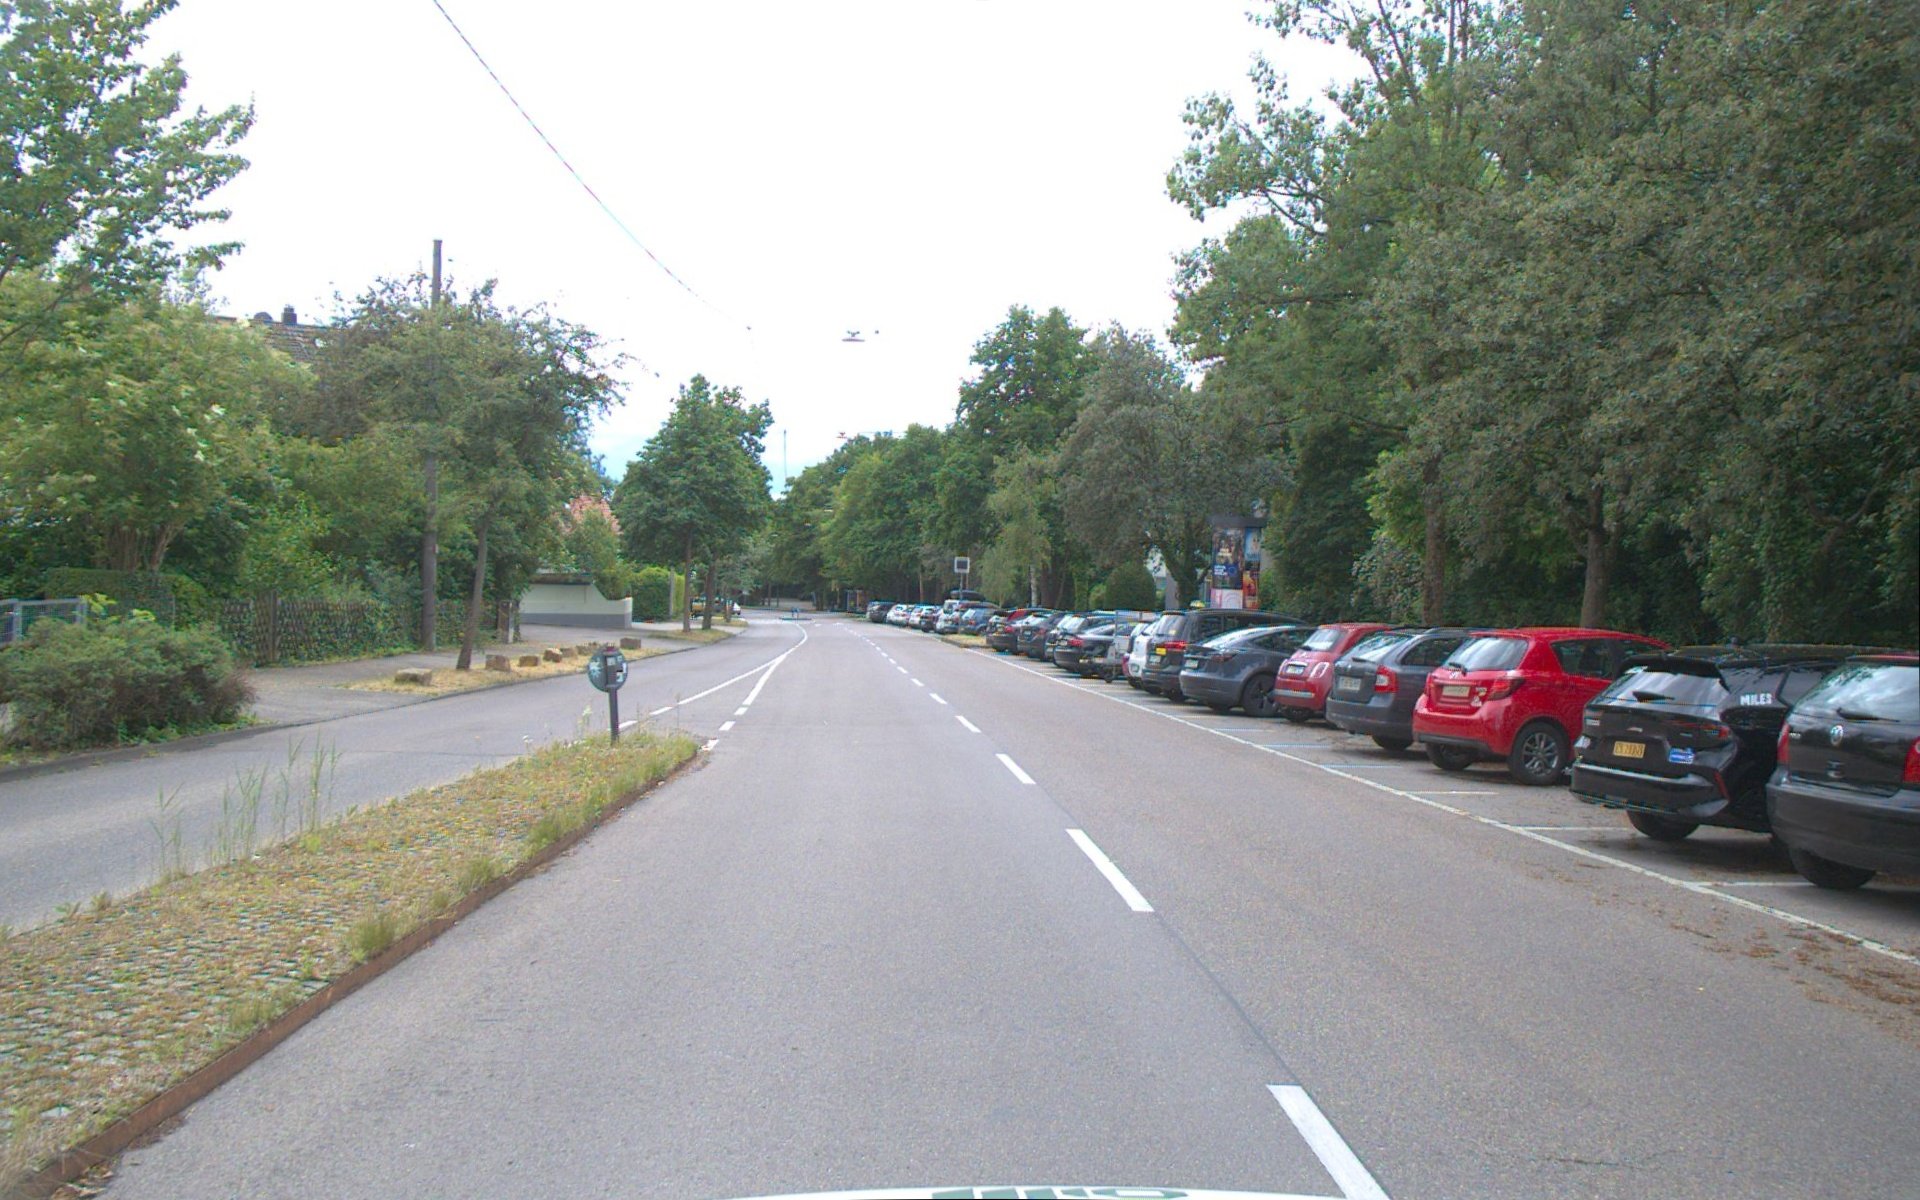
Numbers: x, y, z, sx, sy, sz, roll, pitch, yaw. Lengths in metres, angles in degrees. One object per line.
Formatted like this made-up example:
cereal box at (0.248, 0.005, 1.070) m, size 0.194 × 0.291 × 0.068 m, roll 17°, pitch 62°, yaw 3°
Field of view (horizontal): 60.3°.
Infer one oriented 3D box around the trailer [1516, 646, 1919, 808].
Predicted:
trailer at (6.944, 1.122, 14.864) m, size 3.344 × 1.289 × 1.610 m, roll 2°, pitch -1°, yaw -14°

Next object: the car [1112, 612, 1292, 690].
car at (5.026, 1.058, 34.445) m, size 3.370 × 1.470 × 1.552 m, roll 2°, pitch -1°, yaw -17°

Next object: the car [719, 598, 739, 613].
car at (-23.603, 0.532, 168.901) m, size 1.834 × 1.496 × 3.989 m, roll 1°, pitch 0°, yaw -12°

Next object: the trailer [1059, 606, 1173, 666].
trailer at (4.437, 1.028, 47.058) m, size 2.939 × 1.569 × 1.297 m, roll 2°, pitch 0°, yaw -18°

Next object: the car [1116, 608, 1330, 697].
car at (5.061, 1.006, 31.983) m, size 3.750 × 1.556 × 1.603 m, roll 2°, pitch -1°, yaw -9°

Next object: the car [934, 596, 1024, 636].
car at (0.918, 0.793, 80.898) m, size 4.045 × 1.785 × 1.768 m, roll 3°, pitch 0°, yaw -32°

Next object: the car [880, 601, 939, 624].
car at (-3.607, 0.886, 118.552) m, size 3.834 × 1.454 × 1.730 m, roll 2°, pitch 0°, yaw -25°

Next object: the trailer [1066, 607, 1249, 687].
trailer at (4.361, 1.024, 36.607) m, size 3.628 × 1.562 × 1.639 m, roll 3°, pitch 0°, yaw -16°

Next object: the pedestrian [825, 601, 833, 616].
pedestrian at (-14.657, 0.959, 185.413) m, size 0.725 × 1.597 × 0.652 m, roll 1°, pitch -1°, yaw 6°

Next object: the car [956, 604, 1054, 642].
car at (1.958, 1.018, 72.501) m, size 3.906 × 1.430 × 1.747 m, roll 3°, pitch 0°, yaw -20°

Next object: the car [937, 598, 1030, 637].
car at (1.113, 0.833, 77.998) m, size 3.939 × 1.648 × 1.873 m, roll 3°, pitch 0°, yaw -21°

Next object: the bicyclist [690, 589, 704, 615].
bicyclist at (-18.064, 0.112, 113.532) m, size 0.829 × 1.727 × 0.713 m, roll 2°, pitch 0°, yaw -7°

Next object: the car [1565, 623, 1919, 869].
car at (6.505, 1.003, 11.609) m, size 4.067 × 1.502 × 1.570 m, roll 2°, pitch 0°, yaw -15°

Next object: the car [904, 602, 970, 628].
car at (-1.481, 0.956, 105.403) m, size 3.837 × 1.474 × 1.729 m, roll 2°, pitch 0°, yaw -26°

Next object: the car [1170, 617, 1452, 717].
car at (5.615, 1.068, 26.554) m, size 4.091 × 1.431 × 1.691 m, roll 2°, pitch -1°, yaw -16°

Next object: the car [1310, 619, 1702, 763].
car at (6.425, 1.066, 19.571) m, size 4.147 × 1.489 × 1.629 m, roll 2°, pitch 0°, yaw -14°

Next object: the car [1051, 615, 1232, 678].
car at (4.281, 1.096, 39.157) m, size 3.968 × 1.351 × 1.554 m, roll 2°, pitch -1°, yaw -14°

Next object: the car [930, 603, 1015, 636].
car at (0.621, 1.009, 84.166) m, size 3.908 × 1.474 × 1.907 m, roll 3°, pitch -1°, yaw -20°

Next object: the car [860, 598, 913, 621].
car at (-5.807, 0.763, 131.181) m, size 3.834 × 1.697 × 1.730 m, roll 2°, pitch 0°, yaw -25°

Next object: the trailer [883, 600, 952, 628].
trailer at (-2.767, 0.906, 107.544) m, size 4.100 × 1.600 × 1.699 m, roll 3°, pitch -1°, yaw -24°

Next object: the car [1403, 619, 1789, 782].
car at (6.540, 1.025, 17.091) m, size 3.467 × 1.502 × 1.585 m, roll 2°, pitch 0°, yaw -17°

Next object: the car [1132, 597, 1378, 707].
car at (5.181, 0.906, 29.197) m, size 3.918 × 1.755 × 1.674 m, roll 2°, pitch -1°, yaw -14°

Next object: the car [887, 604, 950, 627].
car at (-2.735, 1.030, 110.243) m, size 3.842 × 1.332 × 1.727 m, roll 2°, pitch 0°, yaw -29°

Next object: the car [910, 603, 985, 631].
car at (-0.708, 0.981, 94.321) m, size 3.841 × 1.474 × 1.827 m, roll 2°, pitch 0°, yaw -29°

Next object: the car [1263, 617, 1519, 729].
car at (6.351, 1.063, 24.471) m, size 3.270 × 1.490 × 1.629 m, roll 2°, pitch -1°, yaw -15°

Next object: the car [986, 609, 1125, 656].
car at (3.154, 1.076, 54.724) m, size 4.246 × 1.364 × 1.724 m, roll 2°, pitch -1°, yaw -19°

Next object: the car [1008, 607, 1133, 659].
car at (3.468, 1.029, 52.175) m, size 3.557 × 1.470 × 1.624 m, roll 2°, pitch 0°, yaw -20°

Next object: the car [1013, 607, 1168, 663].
car at (3.887, 1.039, 49.178) m, size 4.278 × 1.470 × 1.625 m, roll 2°, pitch 0°, yaw -19°

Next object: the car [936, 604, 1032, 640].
car at (1.106, 0.981, 75.038) m, size 3.972 × 1.430 × 1.745 m, roll 3°, pitch 0°, yaw -23°

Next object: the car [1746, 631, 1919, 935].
car at (6.640, 1.023, 9.371) m, size 3.645 × 1.502 × 1.574 m, roll 2°, pitch 0°, yaw -7°

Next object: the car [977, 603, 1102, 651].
car at (2.760, 0.950, 57.543) m, size 4.023 × 1.542 × 1.719 m, roll 2°, pitch 0°, yaw -27°

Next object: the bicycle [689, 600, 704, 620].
bicycle at (-18.087, 0.659, 113.541) m, size 0.829 × 1.288 × 2.648 m, roll 2°, pitch 1°, yaw -7°

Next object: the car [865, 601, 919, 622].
car at (-5.290, 0.918, 128.430) m, size 3.834 × 1.454 × 1.730 m, roll 2°, pitch 0°, yaw -25°

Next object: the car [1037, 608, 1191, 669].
car at (4.147, 1.028, 44.672) m, size 3.778 × 1.480 × 1.627 m, roll 2°, pitch 0°, yaw -17°
